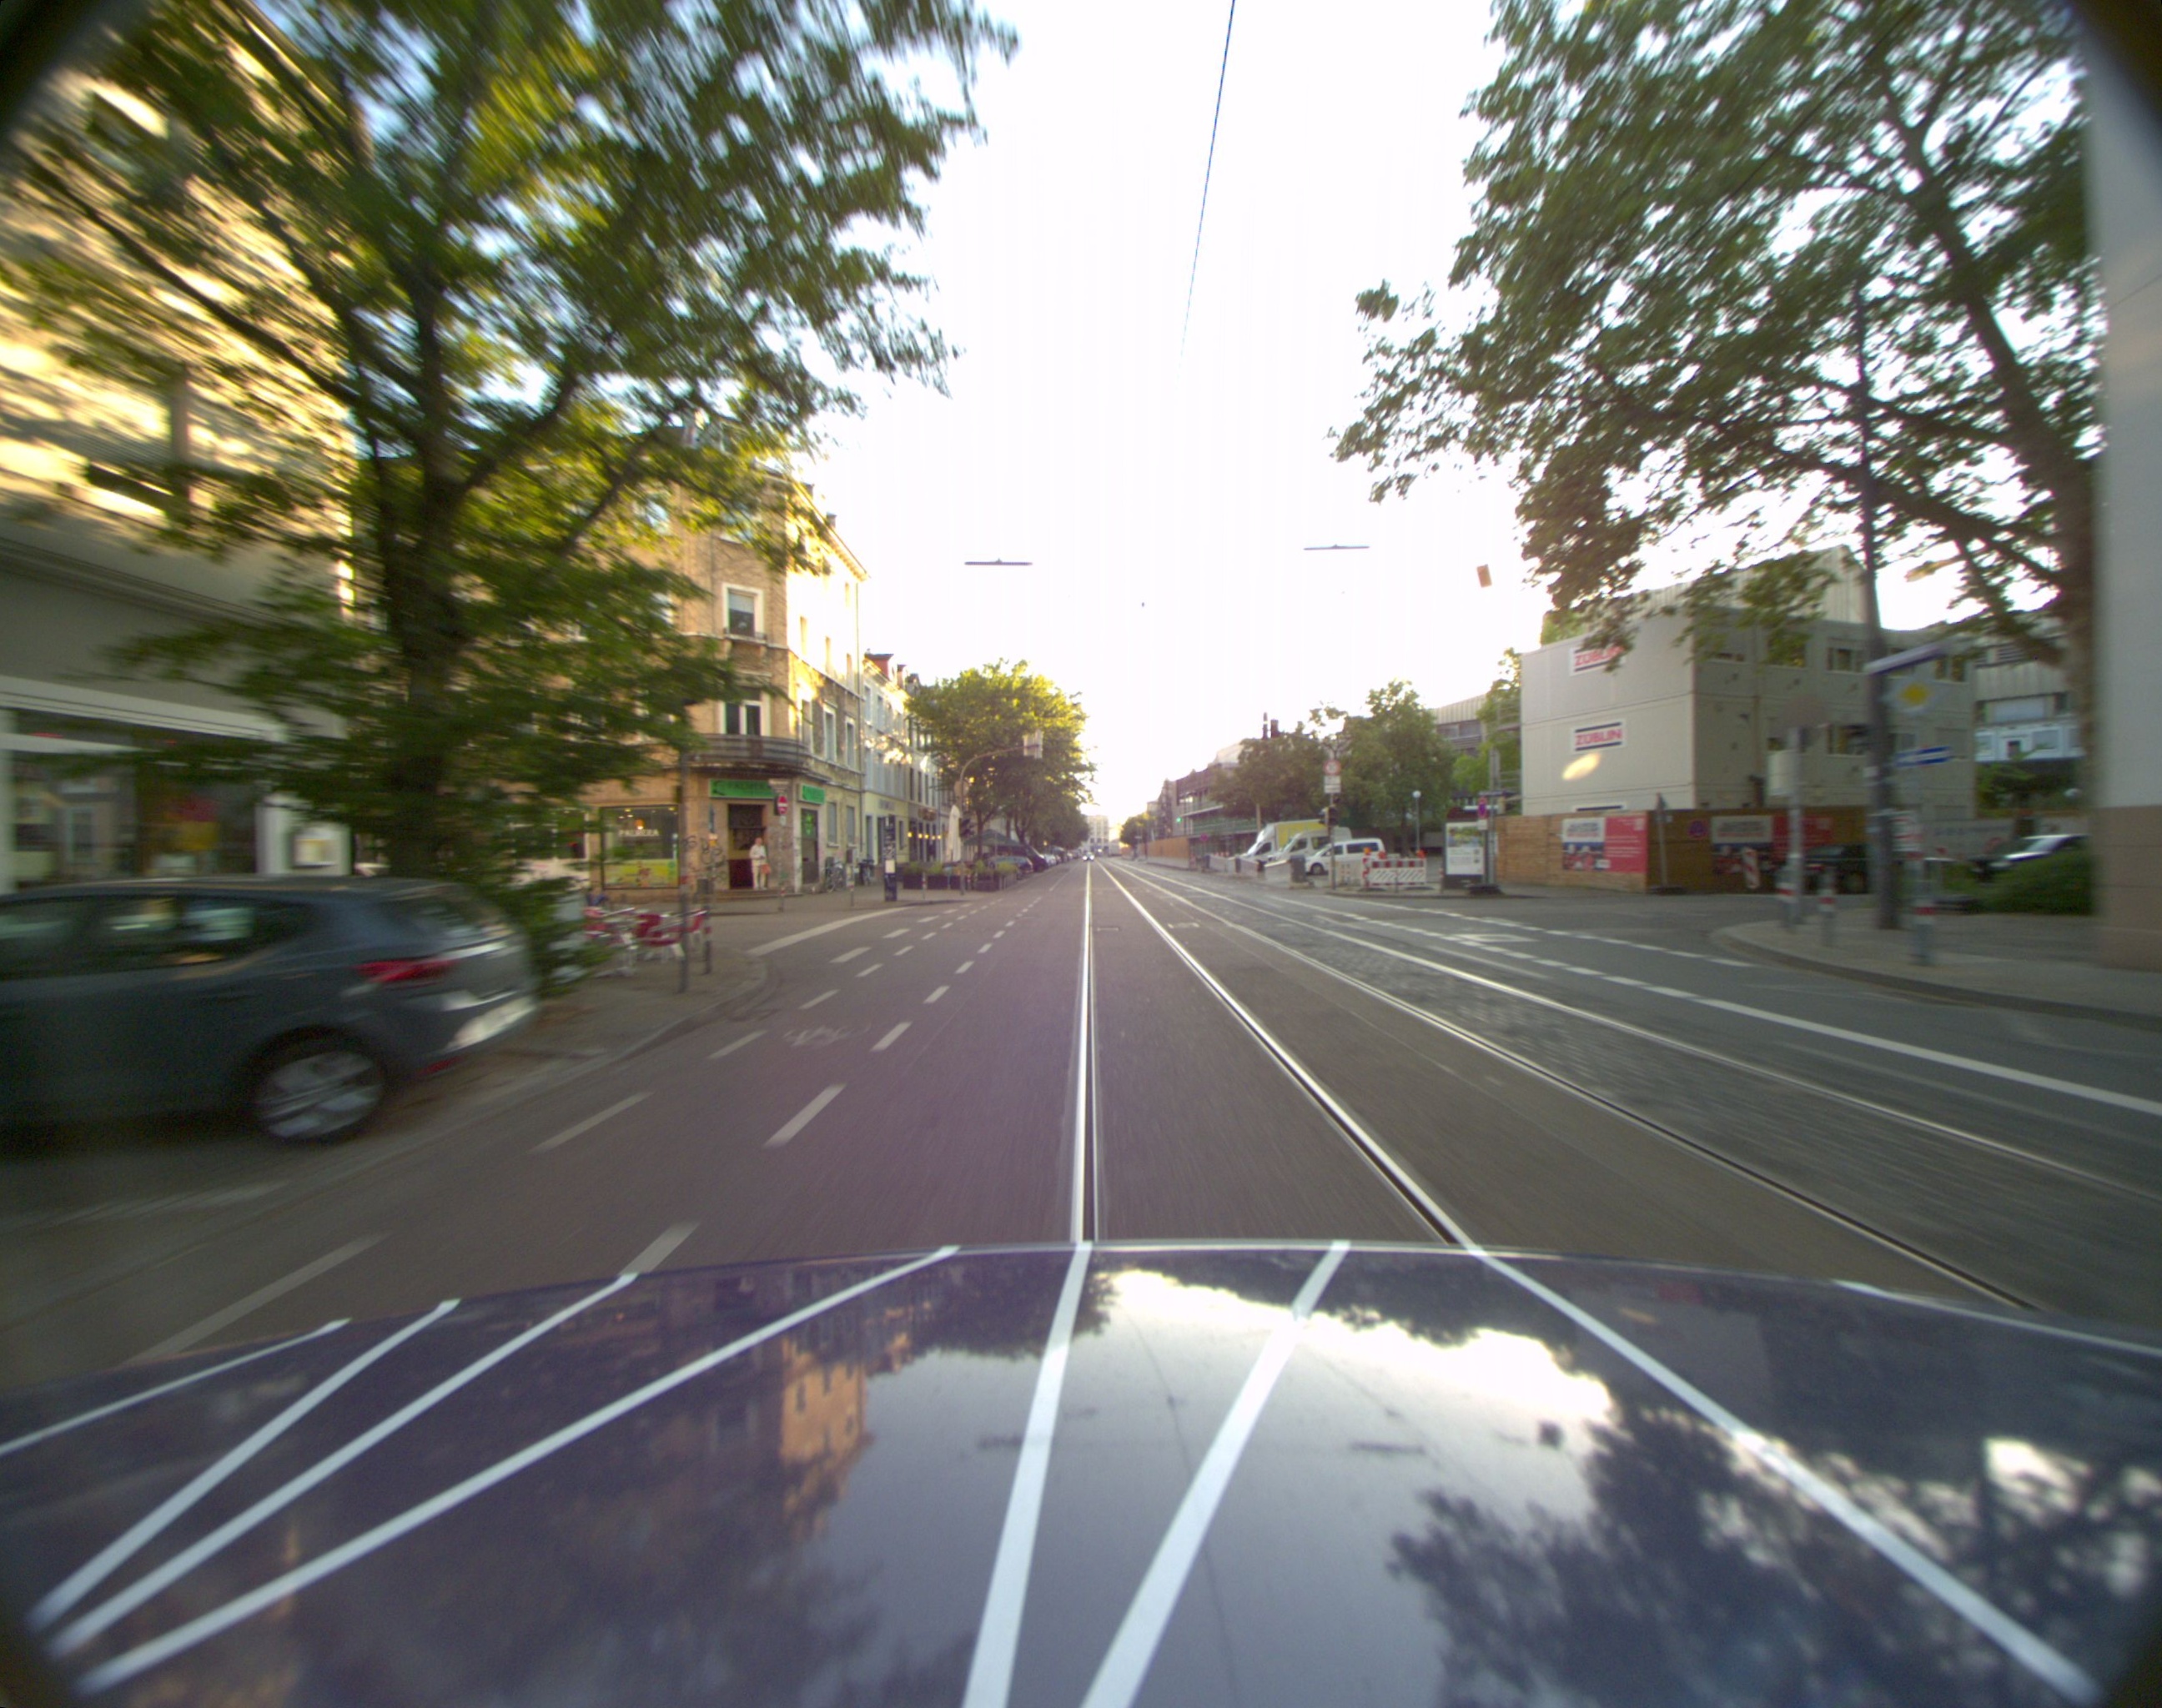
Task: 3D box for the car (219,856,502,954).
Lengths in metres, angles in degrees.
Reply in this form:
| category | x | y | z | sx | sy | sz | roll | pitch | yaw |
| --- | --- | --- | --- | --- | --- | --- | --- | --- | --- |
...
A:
| category | x | y | z | sx | sy | sz | roll | pitch | yaw |
| --- | --- | --- | --- | --- | --- | --- | --- | --- | --- |
| car | -15.038 | 1.031 | 16.012 | 4.331 | 1.830 | 1.907 | -2 | 1 | 6 |

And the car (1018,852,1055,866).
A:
| category | x | y | z | sx | sy | sz | roll | pitch | yaw |
| --- | --- | --- | --- | --- | --- | --- | --- | --- | --- |
| car | -4.993 | 0.580 | 85.161 | 3.996 | 1.566 | 1.720 | 0 | 0 | -11 |

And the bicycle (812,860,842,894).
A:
| category | x | y | z | sx | sy | sz | roll | pitch | yaw |
| --- | --- | --- | --- | --- | --- | --- | --- | --- | --- |
| bicycle | -9.436 | 0.835 | 28.306 | 0.525 | 1.203 | 1.586 | -1 | 0 | 1 |

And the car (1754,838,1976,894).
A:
| category | x | y | z | sx | sy | sz | roll | pitch | yaw |
| --- | --- | --- | --- | --- | --- | --- | --- | --- | --- |
| car | 21.145 | 0.347 | 20.630 | 4.089 | 1.352 | 1.760 | -2 | -2 | 2 |

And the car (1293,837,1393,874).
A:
| category | x | y | z | sx | sy | sz | roll | pitch | yaw |
| --- | --- | --- | --- | --- | --- | --- | --- | --- | --- |
| car | 14.530 | 0.065 | 42.285 | 4.844 | 1.862 | 2.015 | -2 | 0 | 2 |

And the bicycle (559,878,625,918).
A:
| category | x | y | z | sx | sy | sz | roll | pitch | yaw |
| --- | --- | --- | --- | --- | --- | --- | --- | --- | --- |
| bicycle | -14.154 | 1.243 | 22.052 | 0.659 | 1.093 | 1.888 | -1 | -1 | 1 |

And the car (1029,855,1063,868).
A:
| category | x | y | z | sx | sy | sz | roll | pitch | yaw |
| --- | --- | --- | --- | --- | --- | --- | --- | --- | --- |
| car | -4.473 | 0.914 | 95.900 | 3.997 | 1.566 | 1.720 | 0 | 0 | -14 |

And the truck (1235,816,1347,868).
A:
| category | x | y | z | sx | sy | sz | roll | pitch | yaw |
| --- | --- | --- | --- | --- | --- | --- | --- | --- | --- |
| truck | 14.814 | -0.845 | 53.879 | 7.077 | 3.408 | 2.565 | -2 | 0 | -3 |

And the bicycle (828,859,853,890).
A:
| category | x | y | z | sx | sy | sz | roll | pitch | yaw |
| --- | --- | --- | --- | --- | --- | --- | --- | --- | --- |
| bicycle | -9.580 | 0.805 | 30.292 | 0.471 | 1.203 | 1.586 | -1 | 0 | 1 |

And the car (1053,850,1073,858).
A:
| category | x | y | z | sx | sy | sz | roll | pitch | yaw |
| --- | --- | --- | --- | --- | --- | --- | --- | --- | --- |
| car | -3.623 | 0.046 | 156.353 | 3.991 | 1.681 | 1.722 | 0 | 0 | 1 |

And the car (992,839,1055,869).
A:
| category | x | y | z | sx | sy | sz | roll | pitch | yaw |
| --- | --- | --- | --- | --- | --- | --- | --- | --- | --- |
| car | -5.082 | 0.014 | 67.208 | 5.236 | 2.605 | 1.925 | 0 | 1 | -16 |

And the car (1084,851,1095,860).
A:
| category | x | y | z | sx | sy | sz | roll | pitch | yaw |
| --- | --- | --- | --- | --- | --- | --- | --- | --- | --- |
| car | 1.572 | 0.286 | 144.232 | 1.998 | 1.674 | 4.000 | -2 | 0 | 1 |

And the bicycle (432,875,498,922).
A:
| category | x | y | z | sx | sy | sz | roll | pitch | yaw |
| --- | --- | --- | --- | --- | --- | --- | --- | --- | --- |
| bicycle | -17.728 | 1.259 | 21.900 | 0.510 | 1.273 | 1.888 | -1 | -1 | -5 |

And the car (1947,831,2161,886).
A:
| category | x | y | z | sx | sy | sz | roll | pitch | yaw |
| --- | --- | --- | --- | --- | --- | --- | --- | --- | --- |
| car | 27.144 | 0.143 | 21.068 | 4.089 | 1.352 | 1.760 | -2 | -2 | 2 |

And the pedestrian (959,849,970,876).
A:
| category | x | y | z | sx | sy | sz | roll | pitch | yaw |
| --- | --- | --- | --- | --- | --- | --- | --- | --- | --- |
| pedestrian | -7.525 | 0.543 | 49.104 | 0.498 | 1.742 | 0.646 | 1 | 1 | 5 |

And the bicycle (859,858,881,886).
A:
| category | x | y | z | sx | sy | sz | roll | pitch | yaw |
| --- | --- | --- | --- | --- | --- | --- | --- | --- | --- |
| bicycle | -9.610 | 0.791 | 34.611 | 0.471 | 1.203 | 1.783 | -1 | 0 | 1 |

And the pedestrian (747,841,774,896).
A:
| category | x | y | z | sx | sy | sz | roll | pitch | yaw |
| --- | --- | --- | --- | --- | --- | --- | --- | --- | --- |
| pedestrian | -10.899 | 0.502 | 25.827 | 0.558 | 1.821 | 0.613 | -1 | -2 | 38 |

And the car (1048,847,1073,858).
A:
| category | x | y | z | sx | sy | sz | roll | pitch | yaw |
| --- | --- | --- | --- | --- | --- | --- | --- | --- | --- |
| car | -3.595 | -0.247 | 131.665 | 3.997 | 1.952 | 1.720 | 0 | 0 | -14 |

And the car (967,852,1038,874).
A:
| category | x | y | z | sx | sy | sz | roll | pitch | yaw |
| --- | --- | --- | --- | --- | --- | --- | --- | --- | --- |
| car | -5.545 | 0.665 | 53.694 | 4.643 | 1.508 | 1.807 | 1 | -1 | -26 |

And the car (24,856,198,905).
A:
| category | x | y | z | sx | sy | sz | roll | pitch | yaw |
| --- | --- | --- | --- | --- | --- | --- | --- | --- | --- |
| car | -30.393 | 0.830 | 23.865 | 3.670 | 1.435 | 1.664 | -1 | -2 | 6 |

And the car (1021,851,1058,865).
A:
| category | x | y | z | sx | sy | sz | roll | pitch | yaw |
| --- | --- | --- | --- | --- | --- | --- | --- | --- | --- |
| car | -4.865 | 0.484 | 89.161 | 3.997 | 1.566 | 1.720 | 0 | 0 | -14 |

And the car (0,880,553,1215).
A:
| category | x | y | z | sx | sy | sz | roll | pitch | yaw |
| --- | --- | --- | --- | --- | --- | --- | --- | --- | --- |
| car | -5.779 | 1.007 | 4.478 | 4.003 | 1.531 | 1.776 | -1 | 1 | -18 |

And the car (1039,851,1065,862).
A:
| category | x | y | z | sx | sy | sz | roll | pitch | yaw |
| --- | --- | --- | --- | --- | --- | --- | --- | --- | --- |
| car | -4.646 | 0.392 | 121.492 | 3.997 | 1.759 | 1.720 | 0 | 0 | -14 |

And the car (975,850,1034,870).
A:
| category | x | y | z | sx | sy | sz | roll | pitch | yaw |
| --- | --- | --- | --- | --- | --- | --- | --- | --- | --- |
| car | -5.761 | 0.481 | 57.046 | 4.121 | 1.444 | 1.808 | 0 | -1 | -15 |

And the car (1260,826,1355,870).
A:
| category | x | y | z | sx | sy | sz | roll | pitch | yaw |
| --- | --- | --- | --- | --- | --- | --- | --- | --- | --- |
| car | 14.207 | -0.382 | 47.922 | 5.233 | 2.582 | 2.229 | -2 | 0 | -3 |

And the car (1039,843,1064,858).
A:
| category | x | y | z | sx | sy | sz | roll | pitch | yaw |
| --- | --- | --- | --- | --- | --- | --- | --- | --- | --- |
| car | -4.935 | -0.550 | 127.674 | 3.991 | 2.551 | 1.722 | 0 | 0 | 1 |
